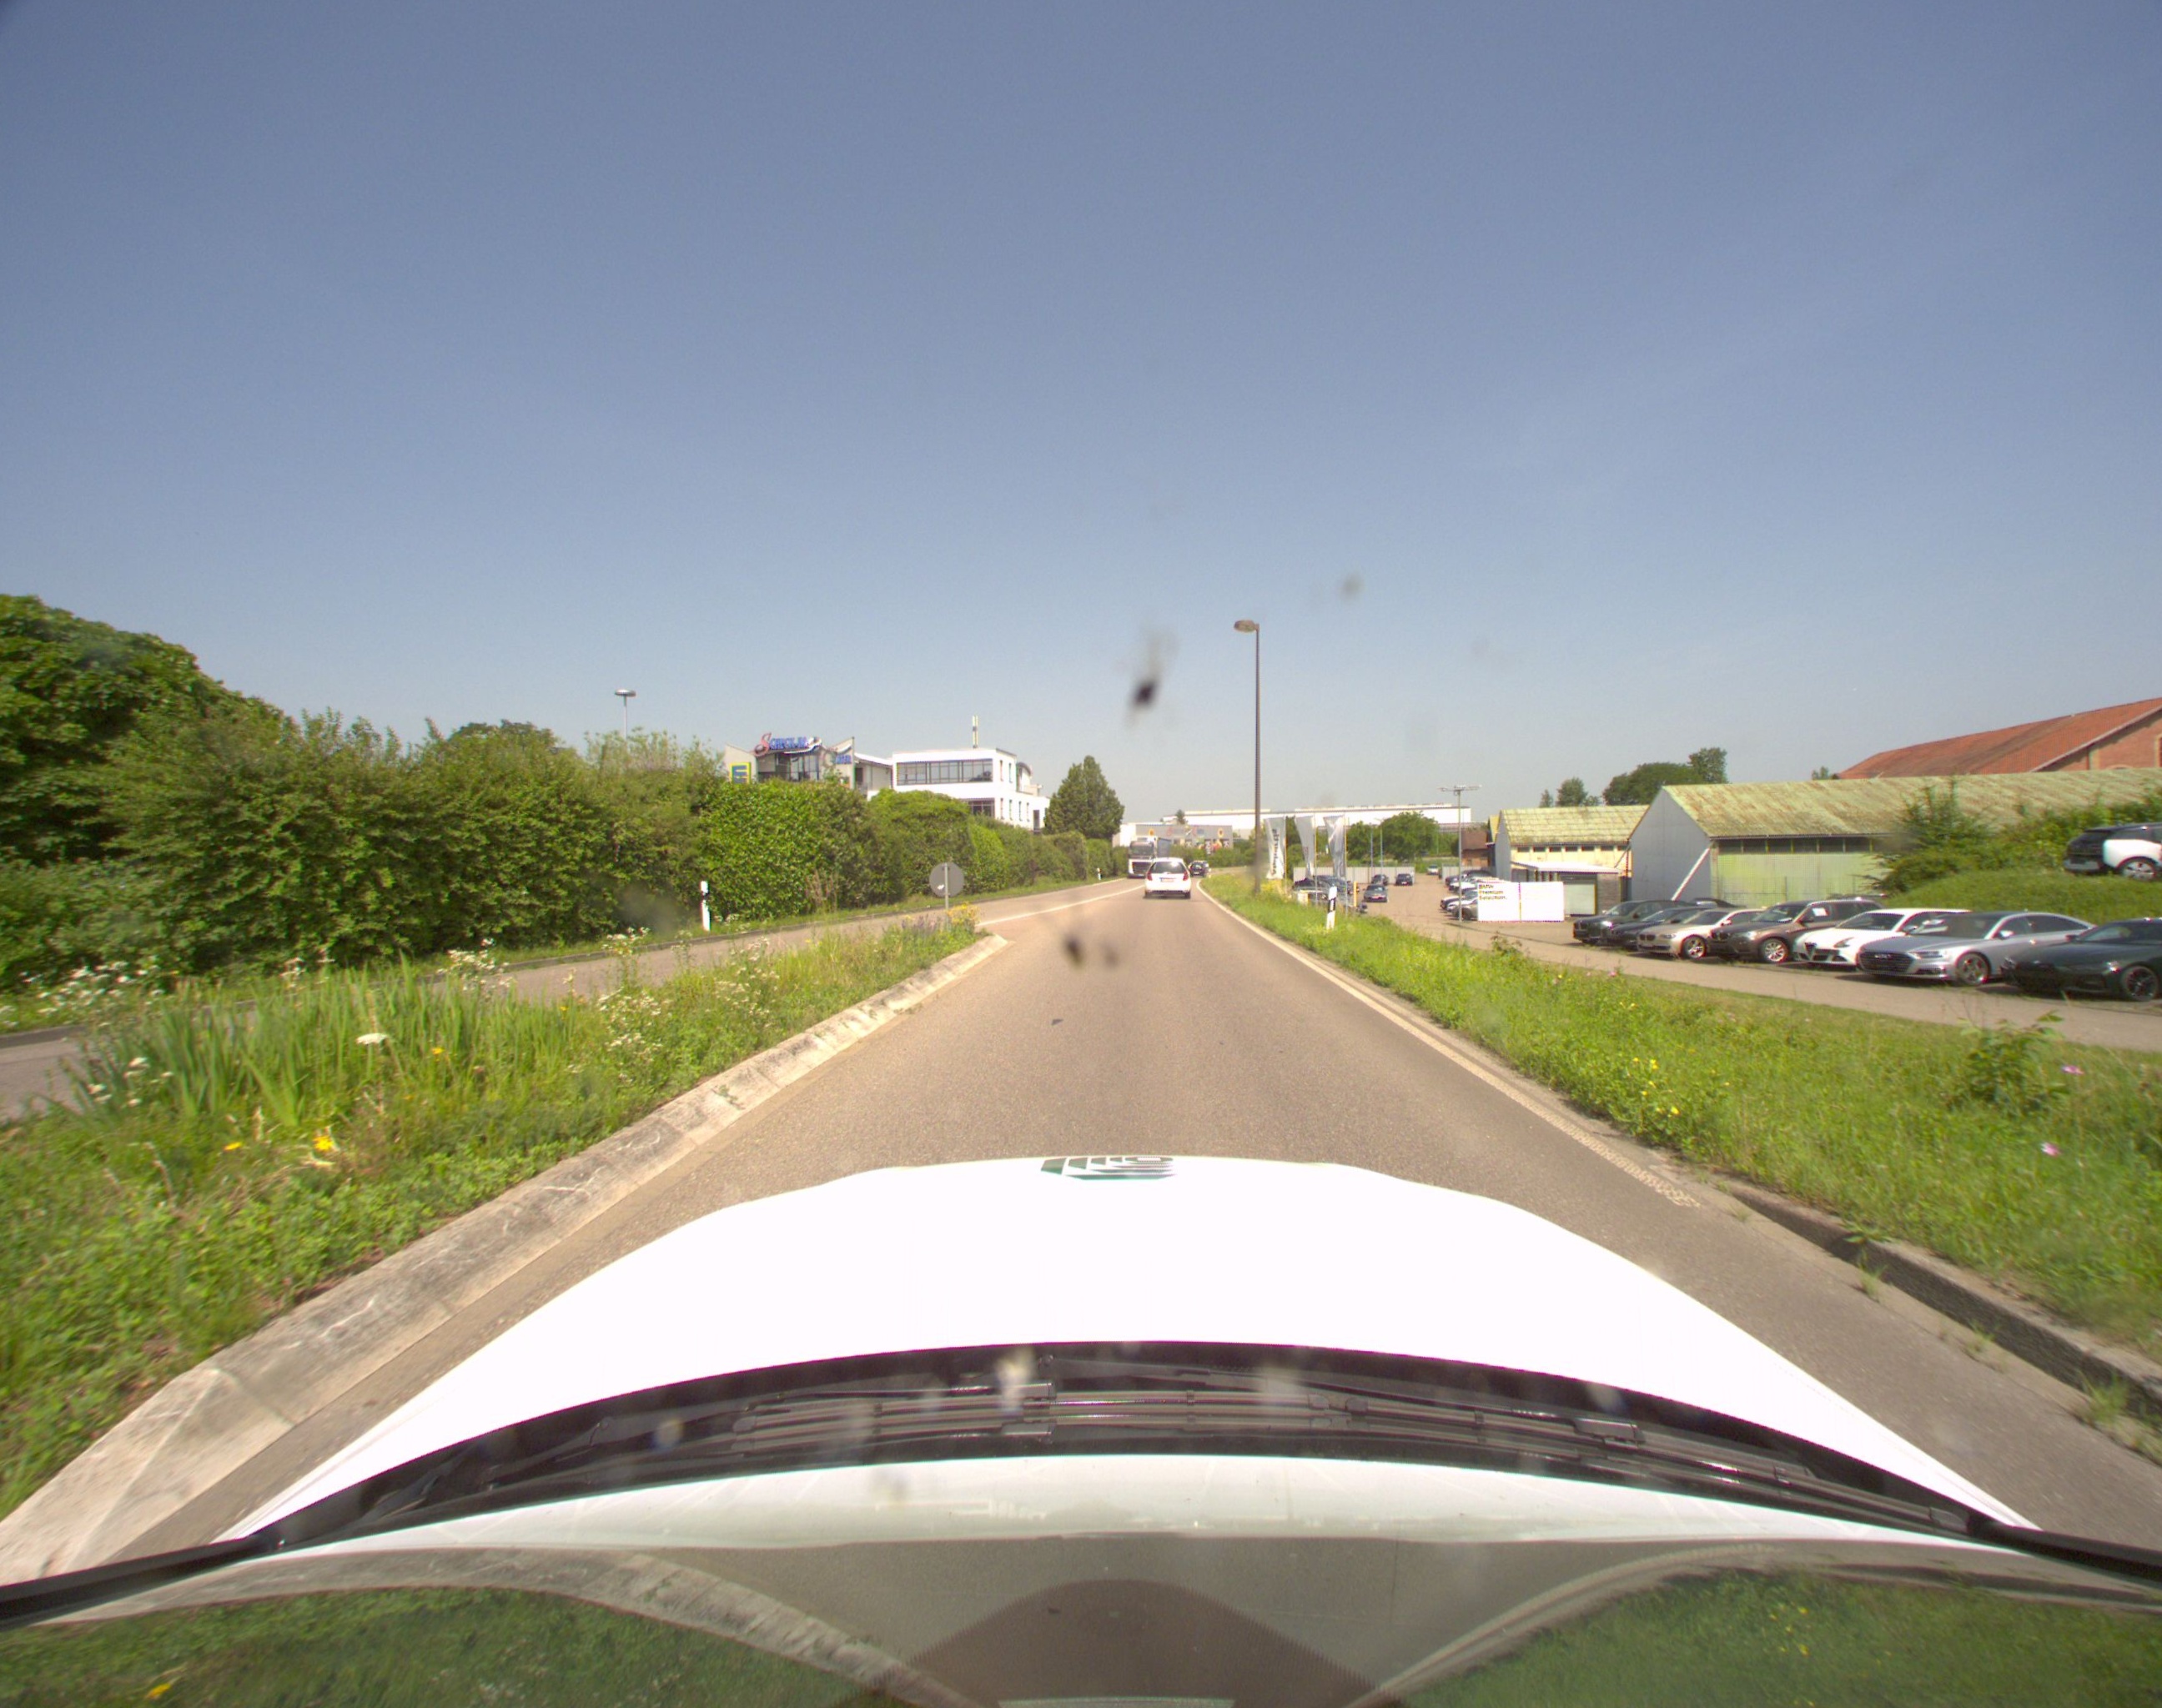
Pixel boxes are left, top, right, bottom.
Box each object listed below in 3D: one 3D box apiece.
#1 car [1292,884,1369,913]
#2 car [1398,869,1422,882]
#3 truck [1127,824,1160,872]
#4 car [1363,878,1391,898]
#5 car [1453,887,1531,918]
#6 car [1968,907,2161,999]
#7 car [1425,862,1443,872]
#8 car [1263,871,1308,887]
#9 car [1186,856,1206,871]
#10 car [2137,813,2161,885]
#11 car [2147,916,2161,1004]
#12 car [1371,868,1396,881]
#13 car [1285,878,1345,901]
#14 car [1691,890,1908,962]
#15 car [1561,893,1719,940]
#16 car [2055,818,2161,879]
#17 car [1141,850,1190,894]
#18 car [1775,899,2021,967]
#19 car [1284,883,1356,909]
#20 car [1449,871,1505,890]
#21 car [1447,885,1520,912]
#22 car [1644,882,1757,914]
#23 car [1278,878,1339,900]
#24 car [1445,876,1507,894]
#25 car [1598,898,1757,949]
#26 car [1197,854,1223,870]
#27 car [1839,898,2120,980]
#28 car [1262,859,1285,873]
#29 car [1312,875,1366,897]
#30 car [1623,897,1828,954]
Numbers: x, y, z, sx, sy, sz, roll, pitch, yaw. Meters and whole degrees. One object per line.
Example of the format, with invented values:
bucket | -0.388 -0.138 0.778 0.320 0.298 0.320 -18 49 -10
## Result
car | 15.086 2.664 49.246 4.119 1.523 1.701 0 -1 41
car | 38.886 2.534 96.151 1.974 1.398 4.025 0 -1 33
truck | 5.922 -0.527 76.690 2.498 4.258 6.129 -1 -1 10
car | 24.555 2.800 67.426 2.117 1.457 4.555 0 -1 21
car | 23.275 2.723 46.183 3.754 1.523 1.762 0 -1 34
car | 20.113 1.819 15.496 4.232 1.413 1.923 -3 -3 1
car | 53.047 1.922 122.362 1.974 1.398 4.025 0 -1 33
car | 22.925 2.800 91.455 4.583 1.605 1.868 0 0 36
car | 12.121 0.997 85.760 1.817 1.470 4.423 0 -1 11
car | 28.231 -0.181 18.782 4.415 1.747 1.849 -2 0 20
car | 20.447 1.659 13.197 4.244 1.482 1.918 -3 -3 -8
car | 36.160 2.419 97.211 1.832 1.534 4.673 0 -1 33
car | 20.106 3.024 70.099 4.584 1.700 1.868 0 1 41
car | 20.154 1.988 23.012 4.232 1.748 2.000 -3 -3 1
car | 20.806 2.311 30.437 4.469 1.640 2.145 0 -2 -3
car | 28.713 -0.178 21.243 3.842 1.532 1.777 -2 0 20
car | 3.399 0.674 32.408 1.771 1.603 3.901 2 0 7
car | 20.538 1.969 20.629 4.232 1.465 1.874 -2 -3 1
car | 15.455 2.707 52.824 4.118 1.523 1.762 0 -1 36
car | 34.237 2.285 70.471 3.982 1.523 1.759 -1 -1 1
car | 24.403 2.672 49.403 3.920 1.523 1.762 -1 -1 28
car | 29.144 2.060 38.434 3.906 1.376 1.727 0 -1 19
car | 17.282 2.666 61.957 4.118 1.523 1.868 0 -1 36
car | 35.363 2.767 72.905 4.629 1.523 1.912 -1 -1 1
car | 20.323 2.327 27.858 3.977 1.552 1.998 -1 -3 -3
car | 16.827 1.012 106.123 1.974 2.014 4.025 0 -1 31
car | 19.828 1.824 18.080 4.416 1.465 1.918 -3 -3 -7
car | 28.528 1.805 120.633 1.974 2.014 4.025 0 -1 37
car | 22.997 2.829 72.686 4.183 1.700 1.930 0 2 44
car | 20.144 2.223 25.620 4.749 1.508 2.000 -2 -3 1
